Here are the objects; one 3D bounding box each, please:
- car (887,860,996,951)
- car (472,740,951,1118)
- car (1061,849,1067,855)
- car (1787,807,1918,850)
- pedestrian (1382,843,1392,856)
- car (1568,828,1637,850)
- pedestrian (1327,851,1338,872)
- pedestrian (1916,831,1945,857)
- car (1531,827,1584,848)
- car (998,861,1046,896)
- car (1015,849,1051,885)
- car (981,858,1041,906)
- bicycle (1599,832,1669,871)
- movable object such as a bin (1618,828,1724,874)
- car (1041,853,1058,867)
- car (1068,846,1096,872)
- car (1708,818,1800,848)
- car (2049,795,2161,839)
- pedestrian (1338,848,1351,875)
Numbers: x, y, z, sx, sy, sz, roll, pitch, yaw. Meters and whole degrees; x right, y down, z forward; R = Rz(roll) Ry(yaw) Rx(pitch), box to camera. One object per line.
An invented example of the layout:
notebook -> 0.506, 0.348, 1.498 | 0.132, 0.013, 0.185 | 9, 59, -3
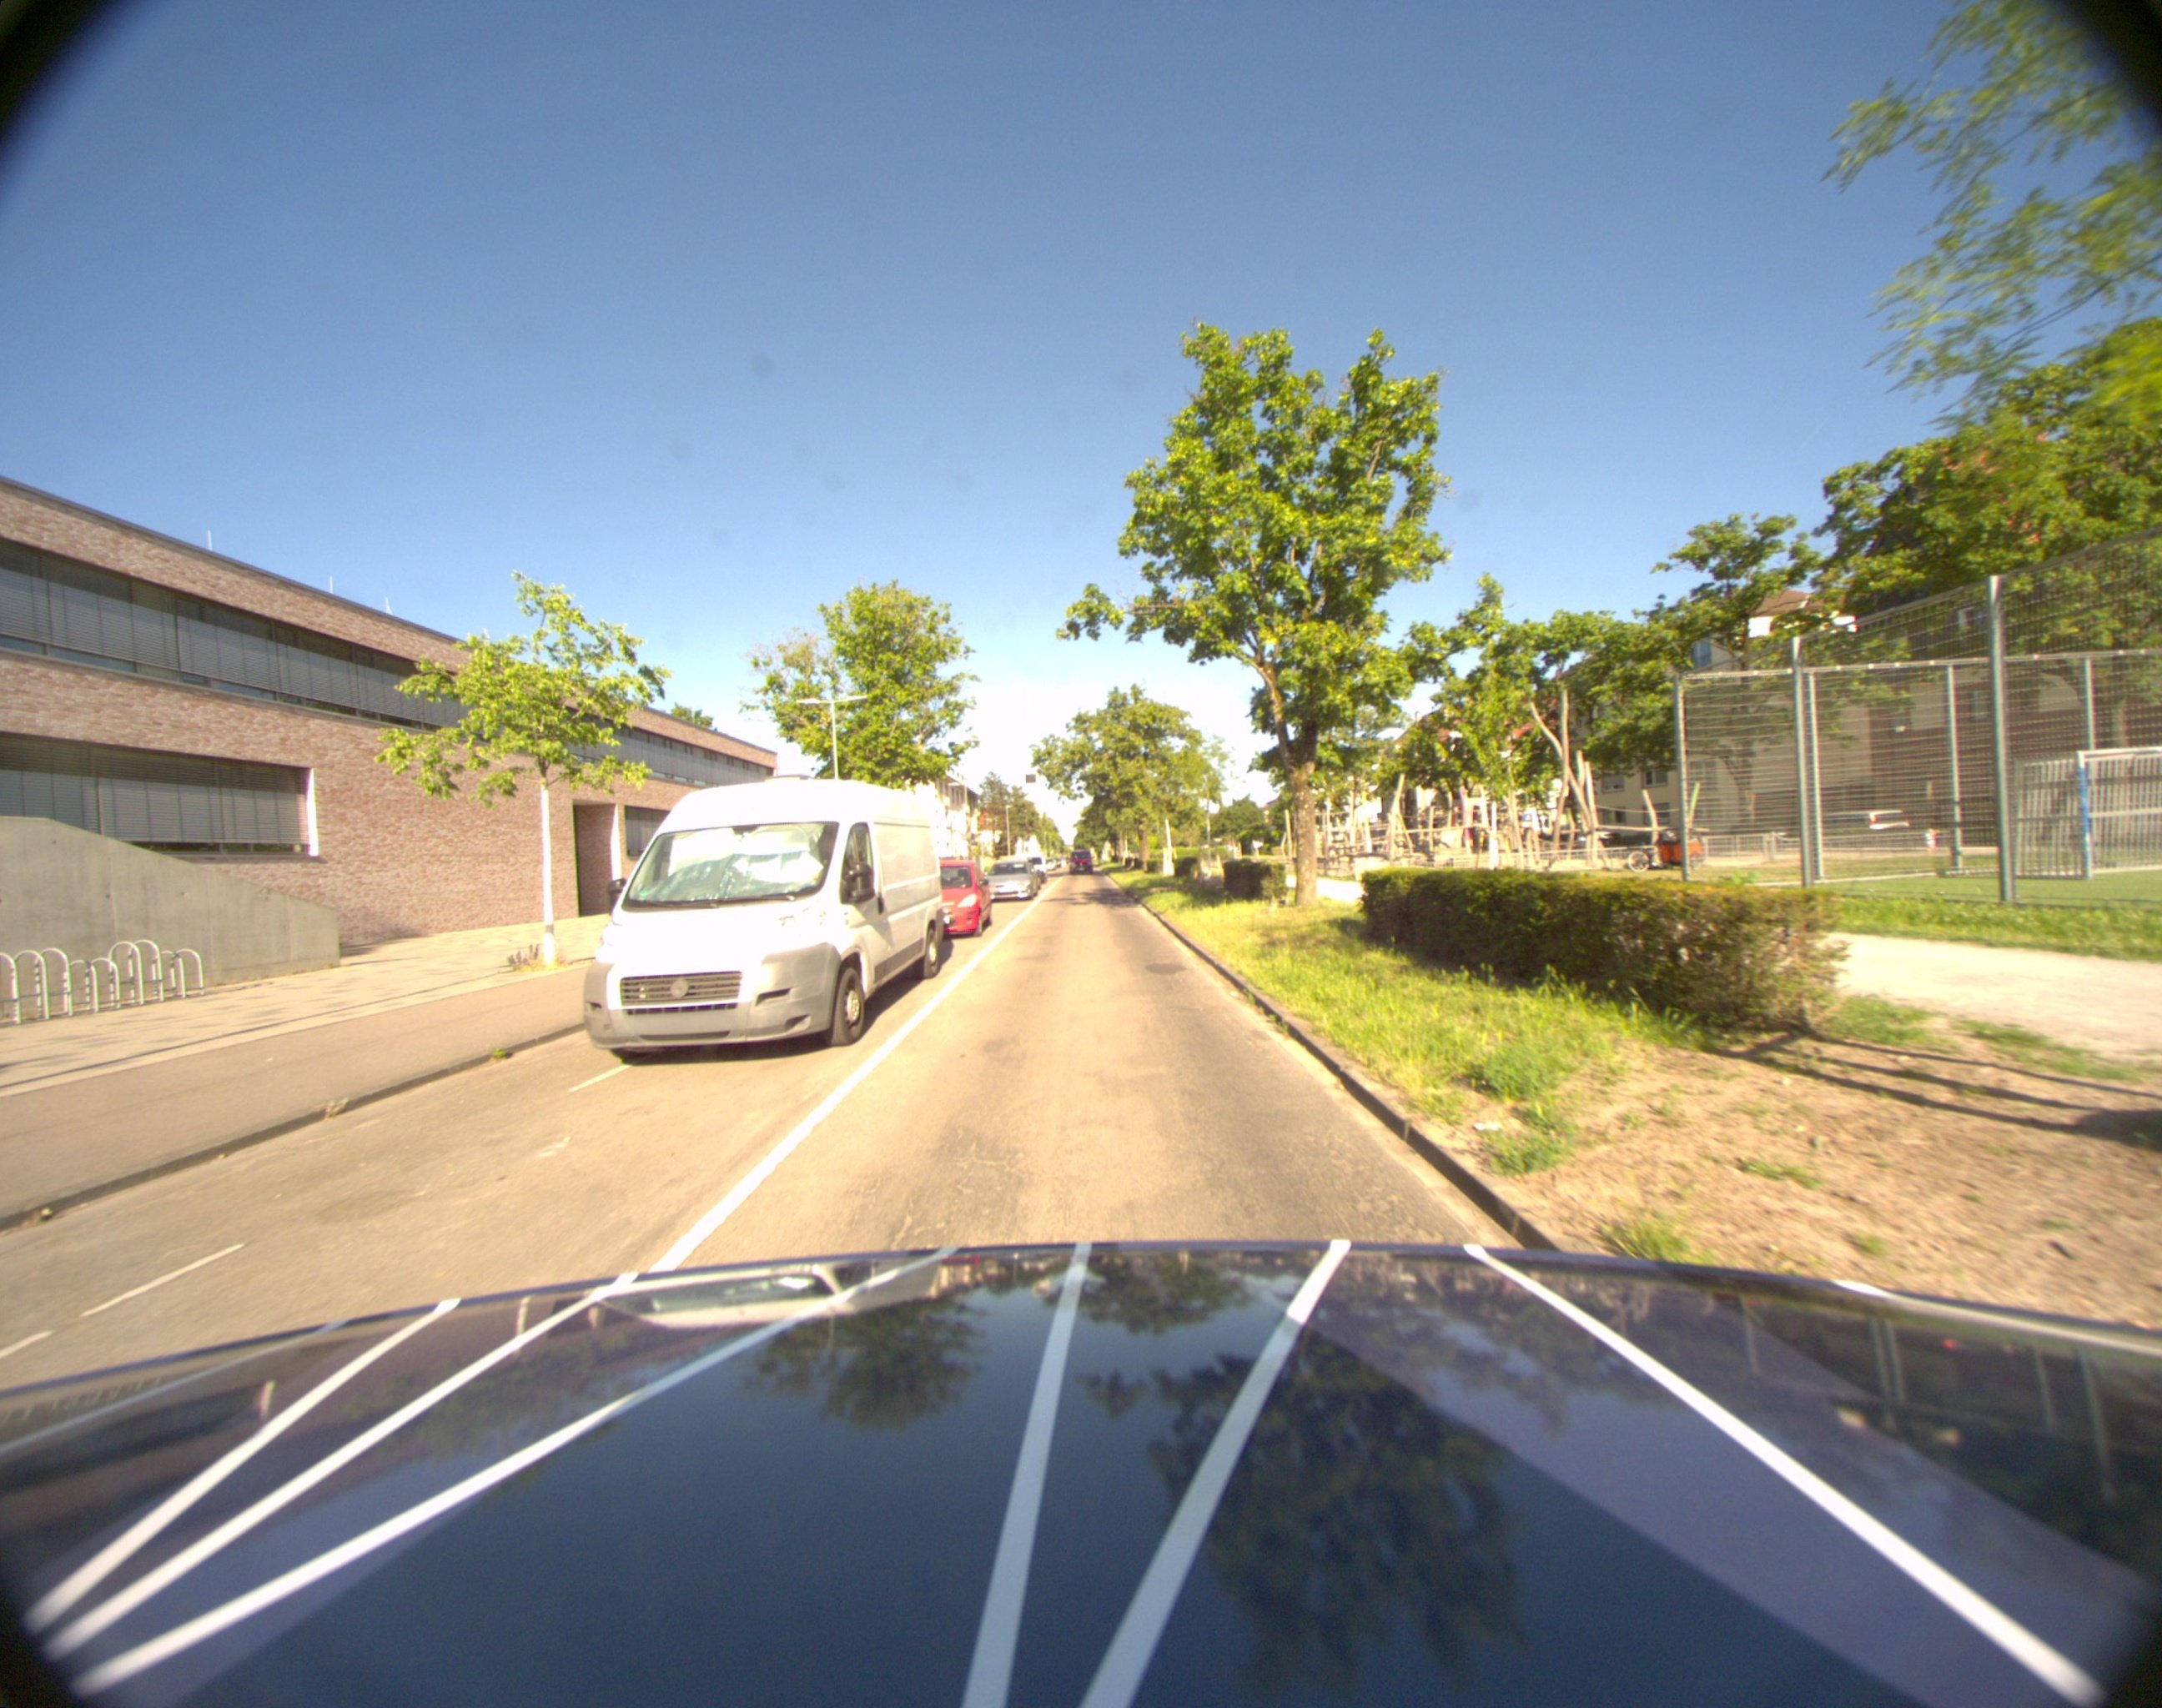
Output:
car -> -2.779, 0.965, 15.871 | 1.624, 1.579, 3.591 | -3, 0, -2
car -> -3.093, 0.523, 8.130 | 2.246, 2.559, 5.432 | -4, 0, 1
car -> -4.822, -0.536, 215.622 | 1.799, 1.529, 4.000 | -3, -1, 0
car -> 39.456, -1.234, 39.058 | 1.799, 1.971, 4.835 | -4, 0, 1
pedestrian -> 24.212, -0.364, 60.066 | 0.542, 0.973, 0.778 | -3, 1, 8
car -> 39.617, -1.090, 57.853 | 1.911, 1.501, 4.764 | -4, 0, -1
pedestrian -> 16.554, 0.510, 49.976 | 0.649, 1.321, 0.651 | -3, 1, 18
pedestrian -> 27.322, -0.313, 24.446 | 0.484, 0.799, 0.359 | -3, 1, 2
car -> 39.539, -1.352, 63.156 | 1.799, 1.545, 4.000 | -4, 0, 0
car -> -2.550, 1.038, 33.725 | 1.706, 1.317, 4.129 | -4, 0, 0
car -> -2.787, 0.705, 44.874 | 1.812, 1.897, 4.460 | -4, 0, -1
car -> -2.502, 0.972, 28.234 | 1.706, 1.470, 4.173 | -4, 0, 1
bicycle -> 17.391, -0.067, 23.910 | 1.799, 1.101, 0.500 | -3, 0, -1
movable object such as a bin -> 17.441, -0.095, 22.512 | 2.337, 1.235, 1.056 | -2, 0, -4
car -> -3.625, 0.655, 86.173 | 1.664, 1.456, 4.409 | -5, 0, -4
car -> 0.105, 0.397, 61.434 | 2.092, 2.000, 4.844 | -2, 0, 0
car -> 39.364, -1.195, 44.575 | 1.799, 1.501, 4.000 | -4, 0, 1
car -> 39.661, -1.414, 28.399 | 1.799, 1.501, 4.000 | -4, 0, 1
pedestrian -> 16.761, 0.492, 48.332 | 0.649, 1.652, 0.651 | -3, 1, 18
